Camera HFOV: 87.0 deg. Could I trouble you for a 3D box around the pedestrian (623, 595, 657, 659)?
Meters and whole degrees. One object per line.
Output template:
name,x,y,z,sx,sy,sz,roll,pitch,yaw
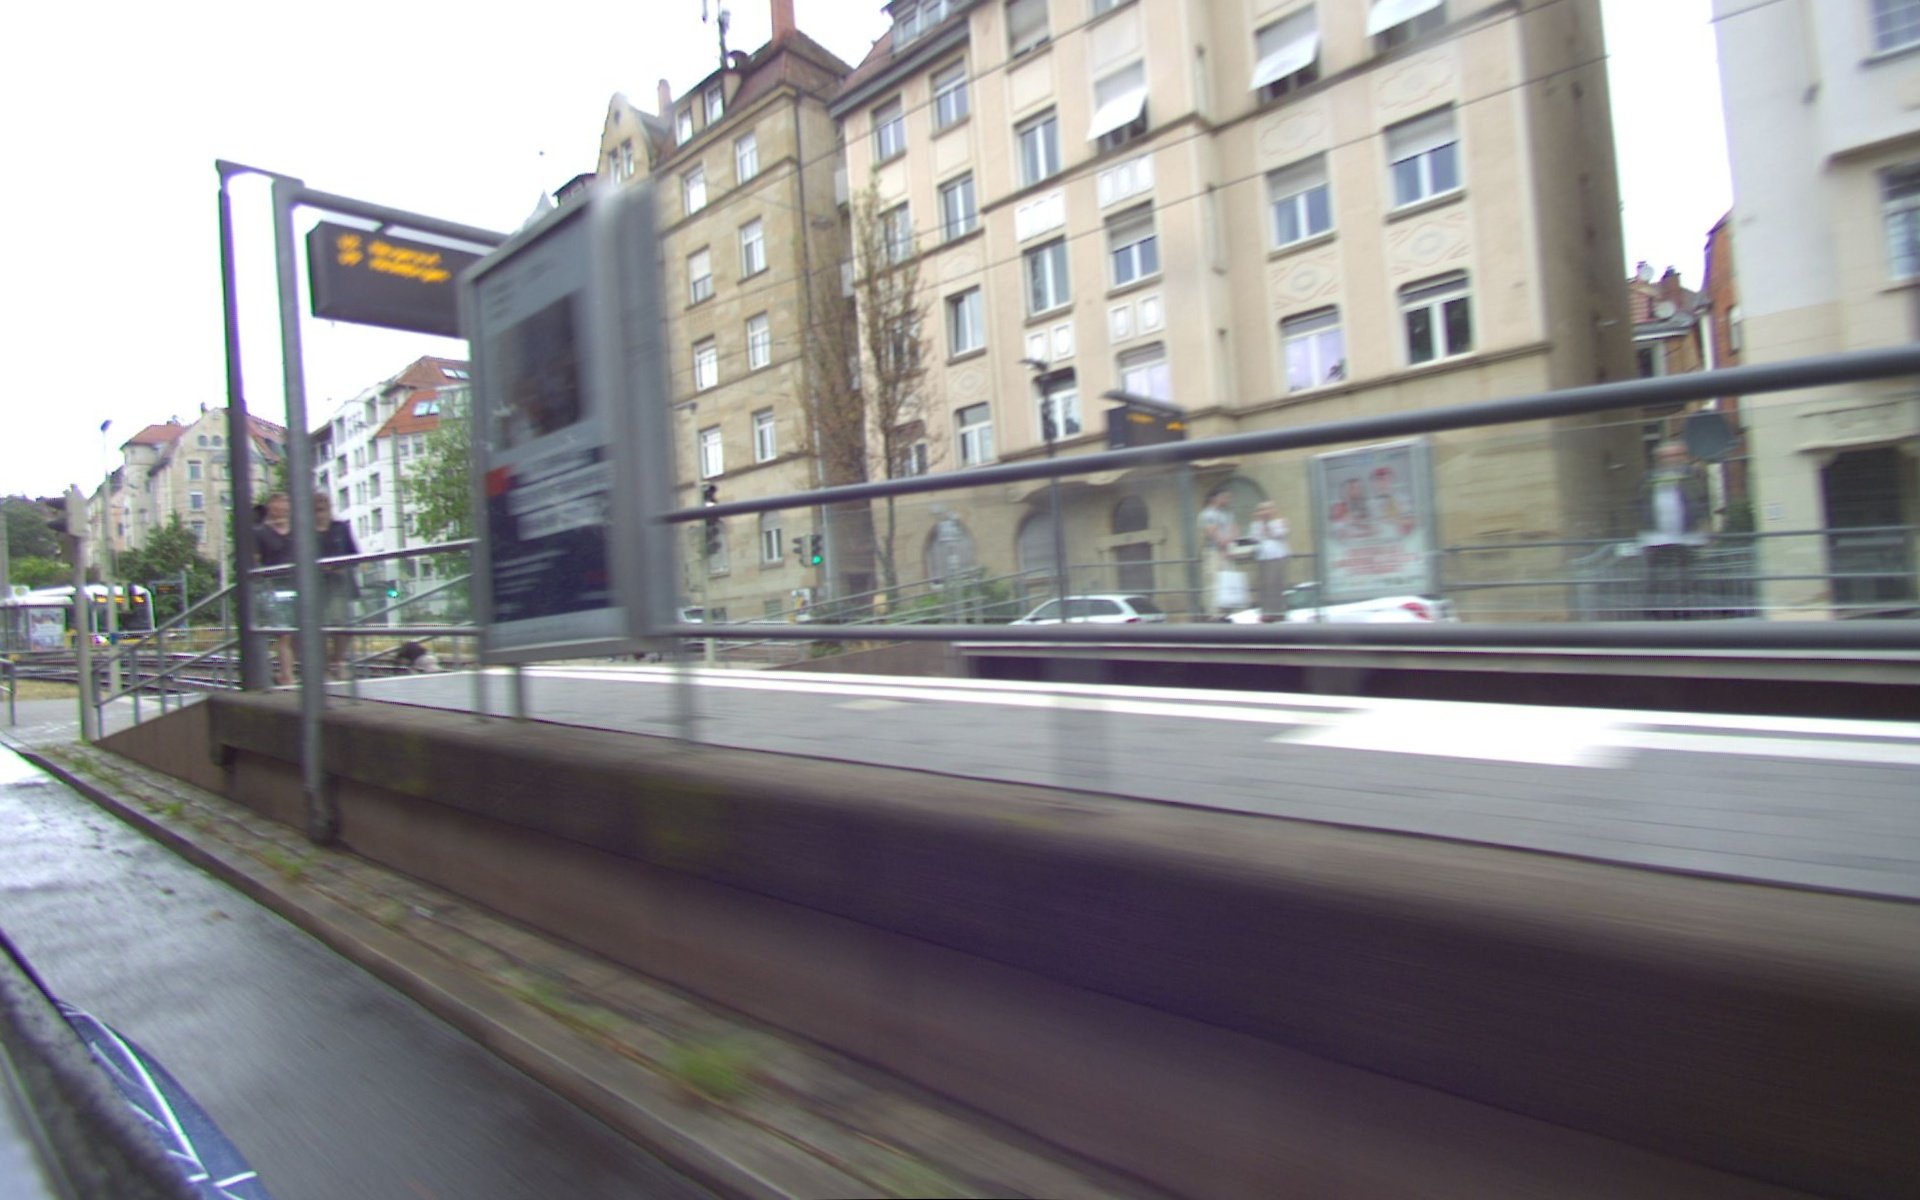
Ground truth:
pedestrian,-7.881,0.661,24.918,0.620,1.543,0.515,-2,0,41

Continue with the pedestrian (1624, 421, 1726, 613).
pedestrian,7.223,-0.801,10.229,0.762,1.852,0.510,-1,-1,42

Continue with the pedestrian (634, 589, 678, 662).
pedestrian,-7.272,0.604,24.212,0.729,1.712,0.712,-2,0,43

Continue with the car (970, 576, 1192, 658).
car,2.574,0.320,22.295,4.532,1.544,1.973,0,4,42

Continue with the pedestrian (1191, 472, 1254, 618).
pedestrian,3.449,-0.693,13.317,0.598,1.864,0.555,-1,-1,41

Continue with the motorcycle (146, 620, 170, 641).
motorcycle,-62.339,2.371,78.693,2.435,1.562,0.691,-1,3,35

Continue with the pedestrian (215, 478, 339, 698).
pedestrian,-6.106,-0.093,9.031,0.847,1.797,0.643,-11,-6,42

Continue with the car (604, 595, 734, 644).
car,-9.568,0.646,33.055,4.866,1.453,1.699,-2,0,41

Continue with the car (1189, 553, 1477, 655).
car,6.667,0.121,18.430,4.535,1.635,1.902,-2,-1,43

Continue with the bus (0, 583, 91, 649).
bus,-52.499,0.934,57.343,9.083,3.495,2.569,-1,0,34

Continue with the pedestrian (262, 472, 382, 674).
pedestrian,-5.278,-0.213,8.376,0.683,1.574,0.643,-2,0,42

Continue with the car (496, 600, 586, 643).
car,-16.451,0.860,39.634,4.174,1.559,1.613,-2,0,42

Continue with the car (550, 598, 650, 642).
car,-13.047,0.721,36.590,4.174,1.453,1.613,-2,0,42

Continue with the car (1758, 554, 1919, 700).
car,12.782,0.312,12.179,4.815,1.745,1.971,-1,0,44

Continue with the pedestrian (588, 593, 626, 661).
pedestrian,-8.654,0.655,24.826,0.620,1.605,0.618,-2,0,43

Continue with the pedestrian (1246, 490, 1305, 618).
pedestrian,4.114,-0.578,13.198,0.562,1.617,0.510,-1,-1,41
